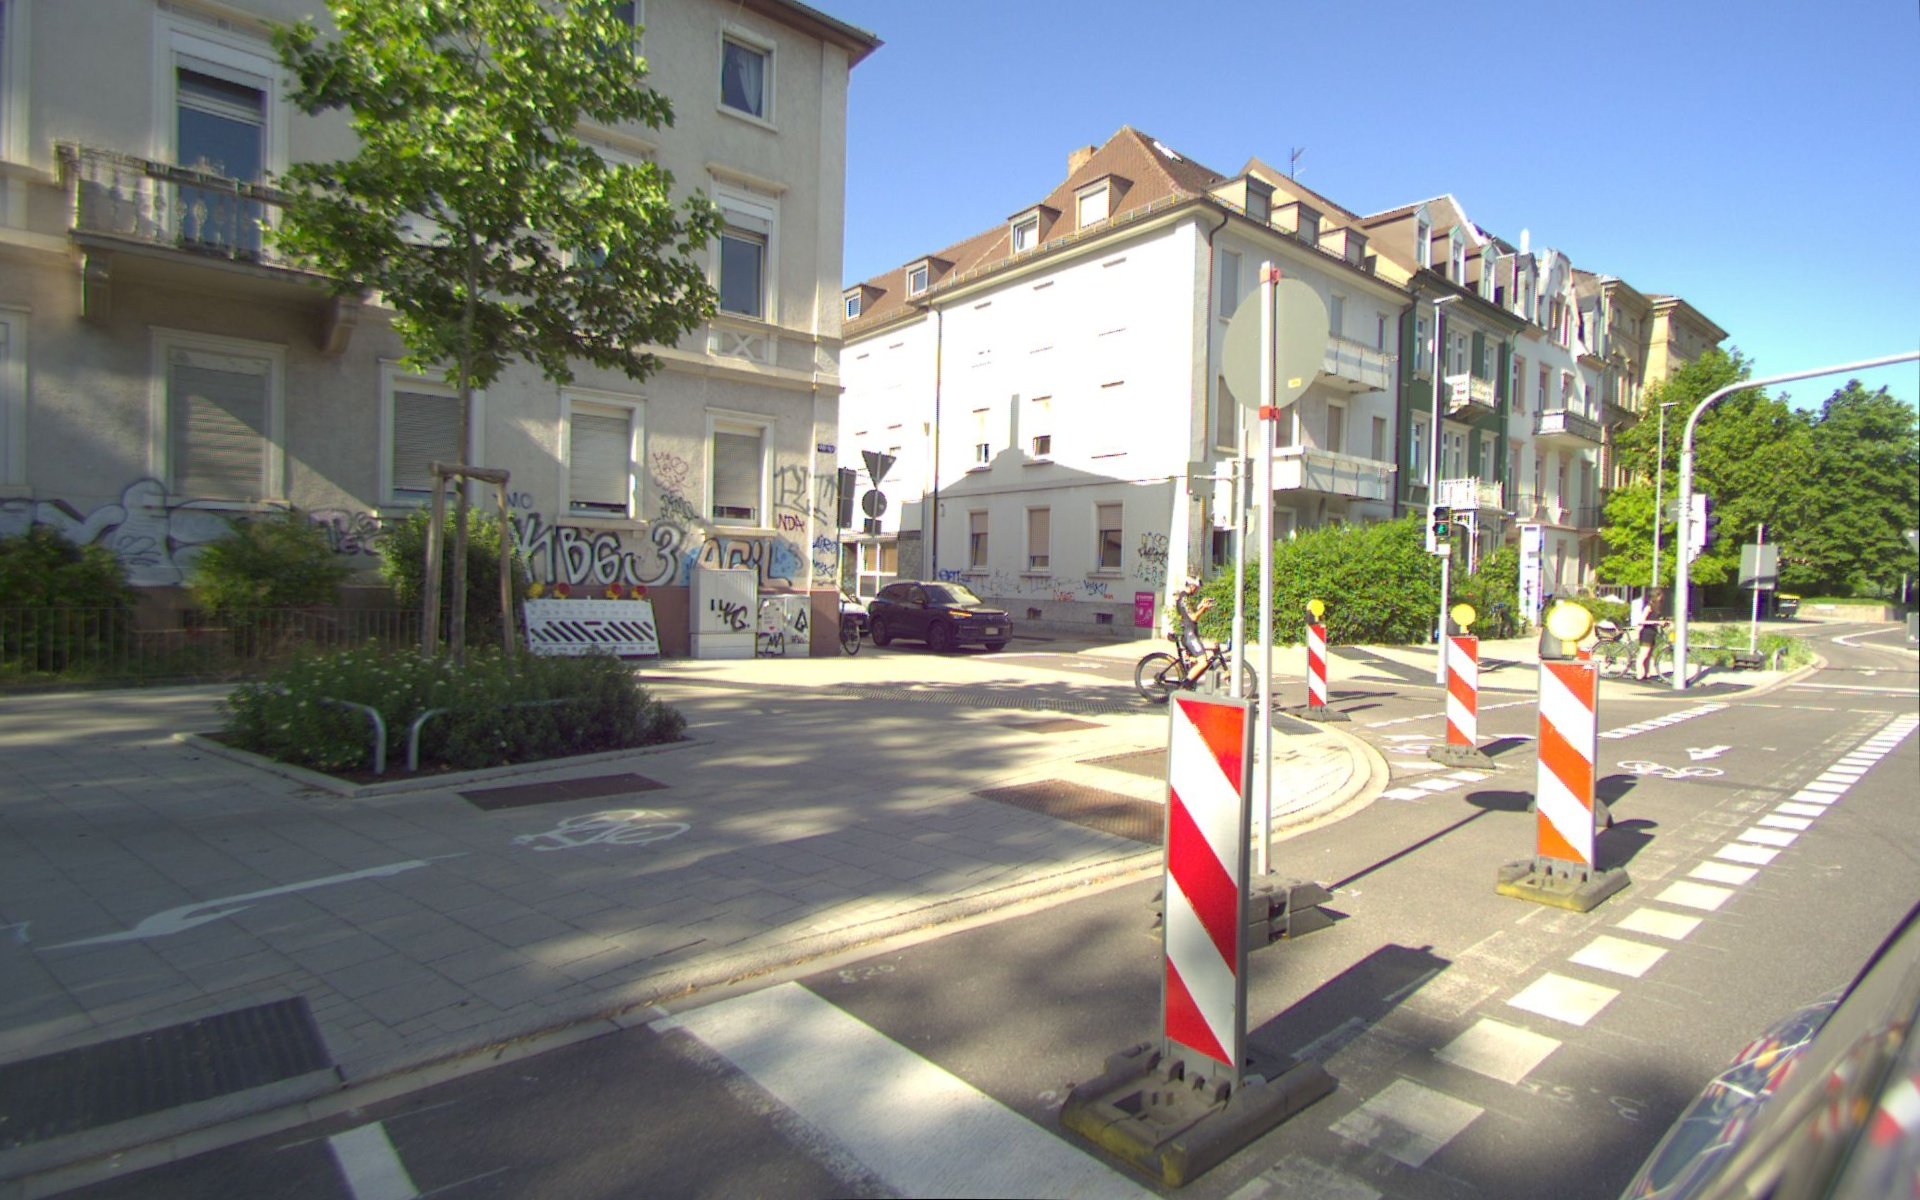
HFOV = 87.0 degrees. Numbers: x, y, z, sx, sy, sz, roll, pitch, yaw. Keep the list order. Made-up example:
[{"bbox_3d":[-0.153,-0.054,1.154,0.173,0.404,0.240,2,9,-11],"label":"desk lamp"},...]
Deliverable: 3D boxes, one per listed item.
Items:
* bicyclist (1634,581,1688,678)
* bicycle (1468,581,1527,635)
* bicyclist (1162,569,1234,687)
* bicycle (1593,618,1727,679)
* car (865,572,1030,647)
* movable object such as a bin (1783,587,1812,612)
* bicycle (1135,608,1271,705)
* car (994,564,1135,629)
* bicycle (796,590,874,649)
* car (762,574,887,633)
[{"bbox_3d":[12.922,0.518,18.653,0.843,1.730,0.604,1,1,-41],"label":"bicyclist"},{"bbox_3d":[15.270,0.237,28.703,2.448,1.462,0.709,1,-1,-43],"label":"bicycle"},{"bbox_3d":[3.206,0.357,13.608,0.860,1.518,0.722,1,1,18],"label":"bicyclist"},{"bbox_3d":[12.919,0.872,18.732,0.594,1.038,1.965,1,-1,-41],"label":"bicycle"},{"bbox_3d":[-0.398,0.162,24.576,1.947,1.639,4.263,0,1,-36],"label":"car"},{"bbox_3d":[49.629,-0.030,60.012,0.964,1.415,1.276,4,2,26],"label":"movable object such as a bin"},{"bbox_3d":[3.262,0.728,13.547,1.665,1.111,0.686,4,2,19],"label":"bicycle"},{"bbox_3d":[2.976,-0.139,29.464,1.962,1.735,4.001,0,1,-34],"label":"car"},{"bbox_3d":[-2.536,0.369,20.300,0.568,1.093,2.001,0,1,-39],"label":"bicycle"},{"bbox_3d":[-4.064,0.052,29.885,1.962,1.584,4.125,0,1,-35],"label":"car"}]
